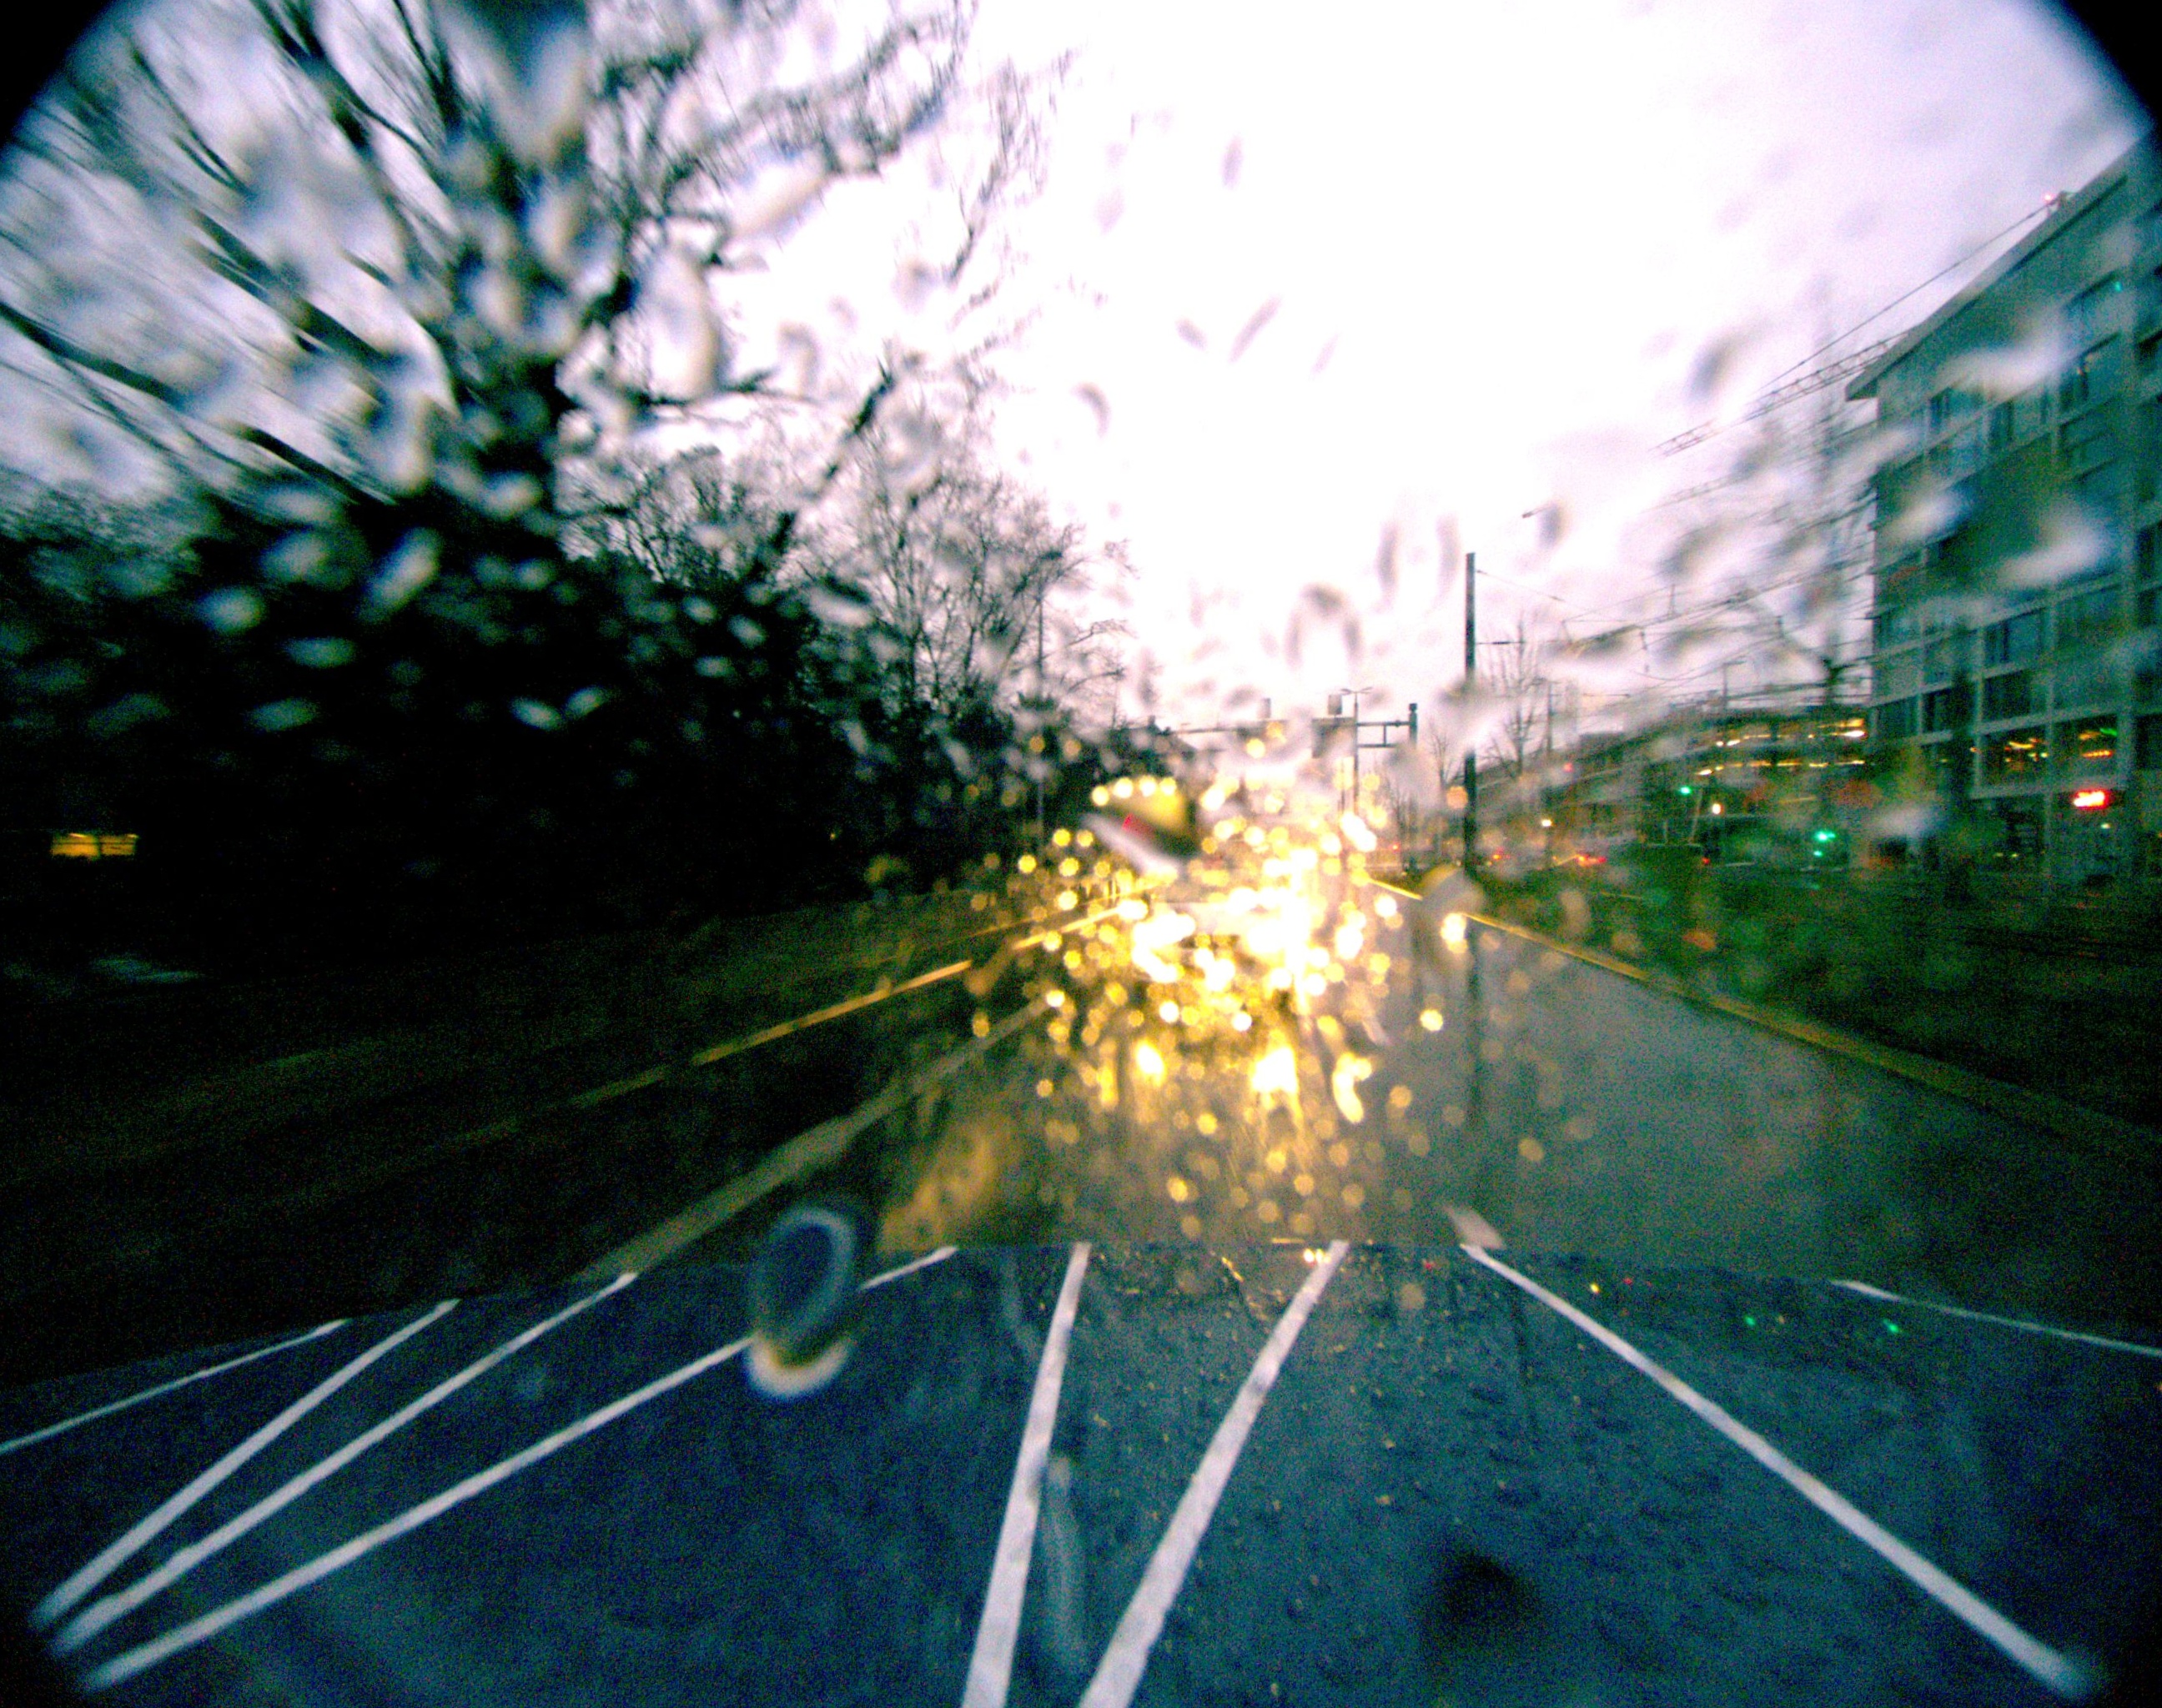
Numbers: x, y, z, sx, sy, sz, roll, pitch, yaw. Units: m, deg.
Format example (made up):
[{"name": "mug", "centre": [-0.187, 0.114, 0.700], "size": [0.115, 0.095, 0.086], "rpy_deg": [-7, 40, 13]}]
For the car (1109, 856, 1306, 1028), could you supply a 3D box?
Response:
[{"name": "car", "centre": [1.751, 0.834, 9.370], "size": [1.884, 1.552, 4.175], "rpy_deg": [0, 1, 16]}]

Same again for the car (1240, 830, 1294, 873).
[{"name": "car", "centre": [7.897, -0.108, 32.053], "size": [1.996, 1.618, 4.272], "rpy_deg": [-2, 0, 15]}]

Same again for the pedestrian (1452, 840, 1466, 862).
[{"name": "pedestrian", "centre": [31.483, -0.231, 63.231], "size": [0.711, 1.794, 0.768], "rpy_deg": [-3, 1, -32]}]

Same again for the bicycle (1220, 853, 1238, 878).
[{"name": "bicycle", "centre": [9.334, 0.709, 47.824], "size": [0.966, 1.442, 3.392], "rpy_deg": [-2, 1, 13]}]

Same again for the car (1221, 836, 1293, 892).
[{"name": "car", "centre": [5.851, 0.264, 24.881], "size": [2.071, 1.618, 4.272], "rpy_deg": [-2, 1, 16]}]

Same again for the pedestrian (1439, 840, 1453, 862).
[{"name": "pedestrian", "centre": [30.682, -0.222, 63.847], "size": [0.711, 1.794, 0.768], "rpy_deg": [-3, 1, -33]}]

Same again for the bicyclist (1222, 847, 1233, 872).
[{"name": "bicyclist", "centre": [9.998, 0.376, 51.937], "size": [0.691, 1.675, 0.593], "rpy_deg": [-2, 1, 12]}]

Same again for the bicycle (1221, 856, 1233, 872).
[{"name": "bicycle", "centre": [9.981, 0.696, 51.870], "size": [0.691, 1.036, 1.723], "rpy_deg": [-2, 1, 12]}]

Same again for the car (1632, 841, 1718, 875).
[{"name": "car", "centre": [31.400, 0.170, 40.360], "size": [2.083, 1.659, 5.050], "rpy_deg": [0, 1, 20]}]

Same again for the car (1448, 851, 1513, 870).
[{"name": "car", "centre": [30.983, 0.442, 58.896], "size": [4.245, 1.392, 2.116], "rpy_deg": [0, 1, 33]}]

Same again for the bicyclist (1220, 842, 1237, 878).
[{"name": "bicyclist", "centre": [9.318, 0.344, 47.919], "size": [0.966, 2.210, 0.936], "rpy_deg": [-2, 1, 13]}]

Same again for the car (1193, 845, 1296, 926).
[{"name": "car", "centre": [3.937, 0.652, 18.081], "size": [2.071, 1.618, 4.272], "rpy_deg": [-2, 1, 13]}]

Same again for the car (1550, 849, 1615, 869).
[{"name": "car", "centre": [33.912, 0.337, 51.539], "size": [1.816, 1.300, 4.000], "rpy_deg": [0, 1, 1]}]
